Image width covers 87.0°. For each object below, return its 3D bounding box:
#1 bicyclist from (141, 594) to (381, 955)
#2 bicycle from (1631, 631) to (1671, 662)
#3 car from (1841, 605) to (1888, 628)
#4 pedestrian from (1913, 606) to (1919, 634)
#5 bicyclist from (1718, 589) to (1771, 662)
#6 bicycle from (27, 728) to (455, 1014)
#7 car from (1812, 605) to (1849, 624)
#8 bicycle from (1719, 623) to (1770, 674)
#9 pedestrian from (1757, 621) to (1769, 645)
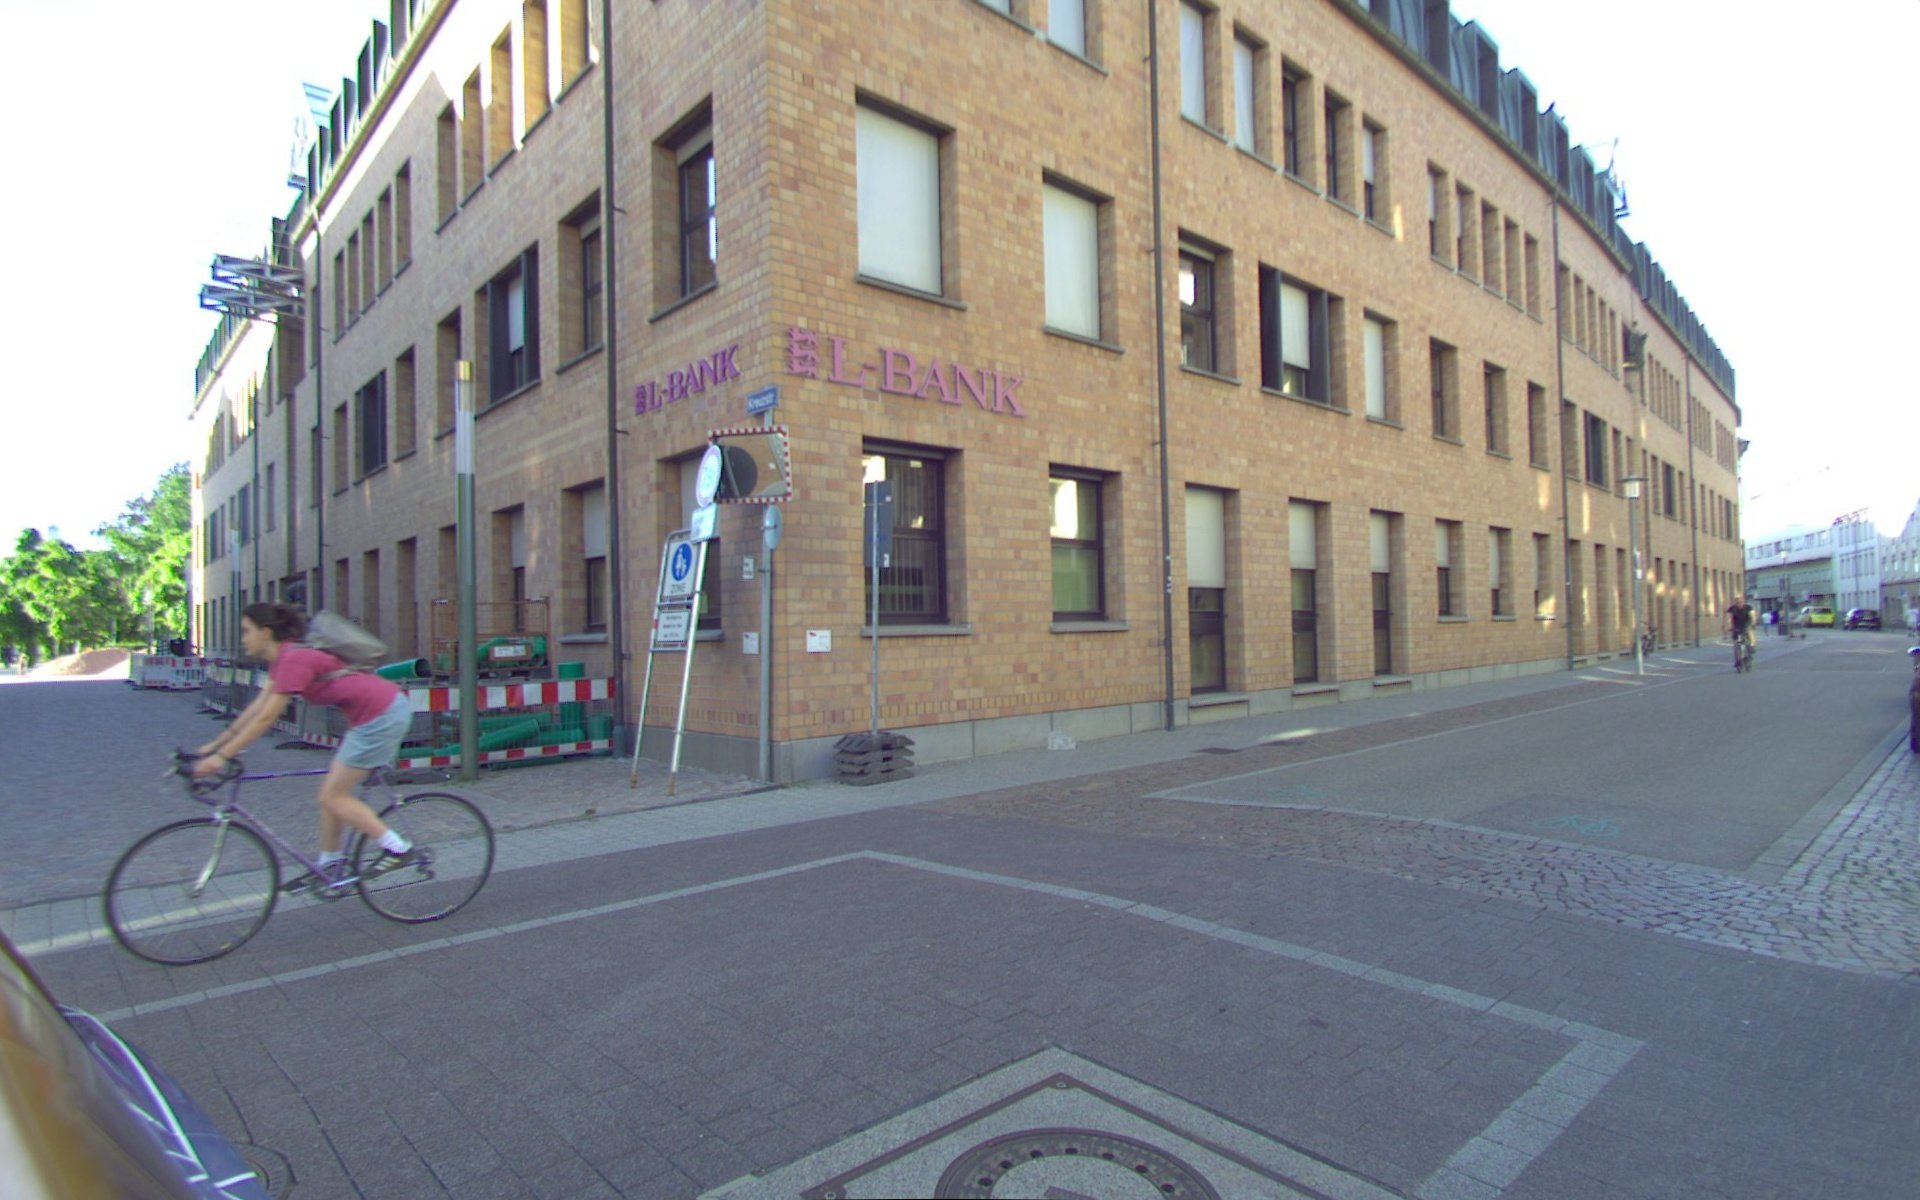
[{"bbox_3d":[-3.237,0.745,4.712,0.862,1.509,0.429,1,-5,-43],"label":"bicyclist"},{"bbox_3d":[21.751,1.450,31.841,0.643,0.888,2.520,-1,-1,43],"label":"bicycle"},{"bbox_3d":[68.423,1.257,76.605,1.930,1.663,3.794,-2,-2,32],"label":"car"},{"bbox_3d":[51.555,1.054,54.243,0.571,1.490,0.467,-3,-2,39],"label":"pedestrian"},{"bbox_3d":[18.586,0.609,23.978,0.773,1.668,0.943,-7,-5,43],"label":"bicyclist"},{"bbox_3d":[-3.241,1.151,4.678,1.567,0.964,0.437,0,-2,-43],"label":"bicycle"},{"bbox_3d":[77.495,1.323,90.158,1.930,1.663,3.794,-1,-1,32],"label":"car"},{"bbox_3d":[18.447,1.137,23.776,0.705,1.112,1.802,-7,-6,42],"label":"bicycle"},{"bbox_3d":[53.003,2.190,66.763,0.399,1.556,0.543,1,-2,-45],"label":"pedestrian"}]
